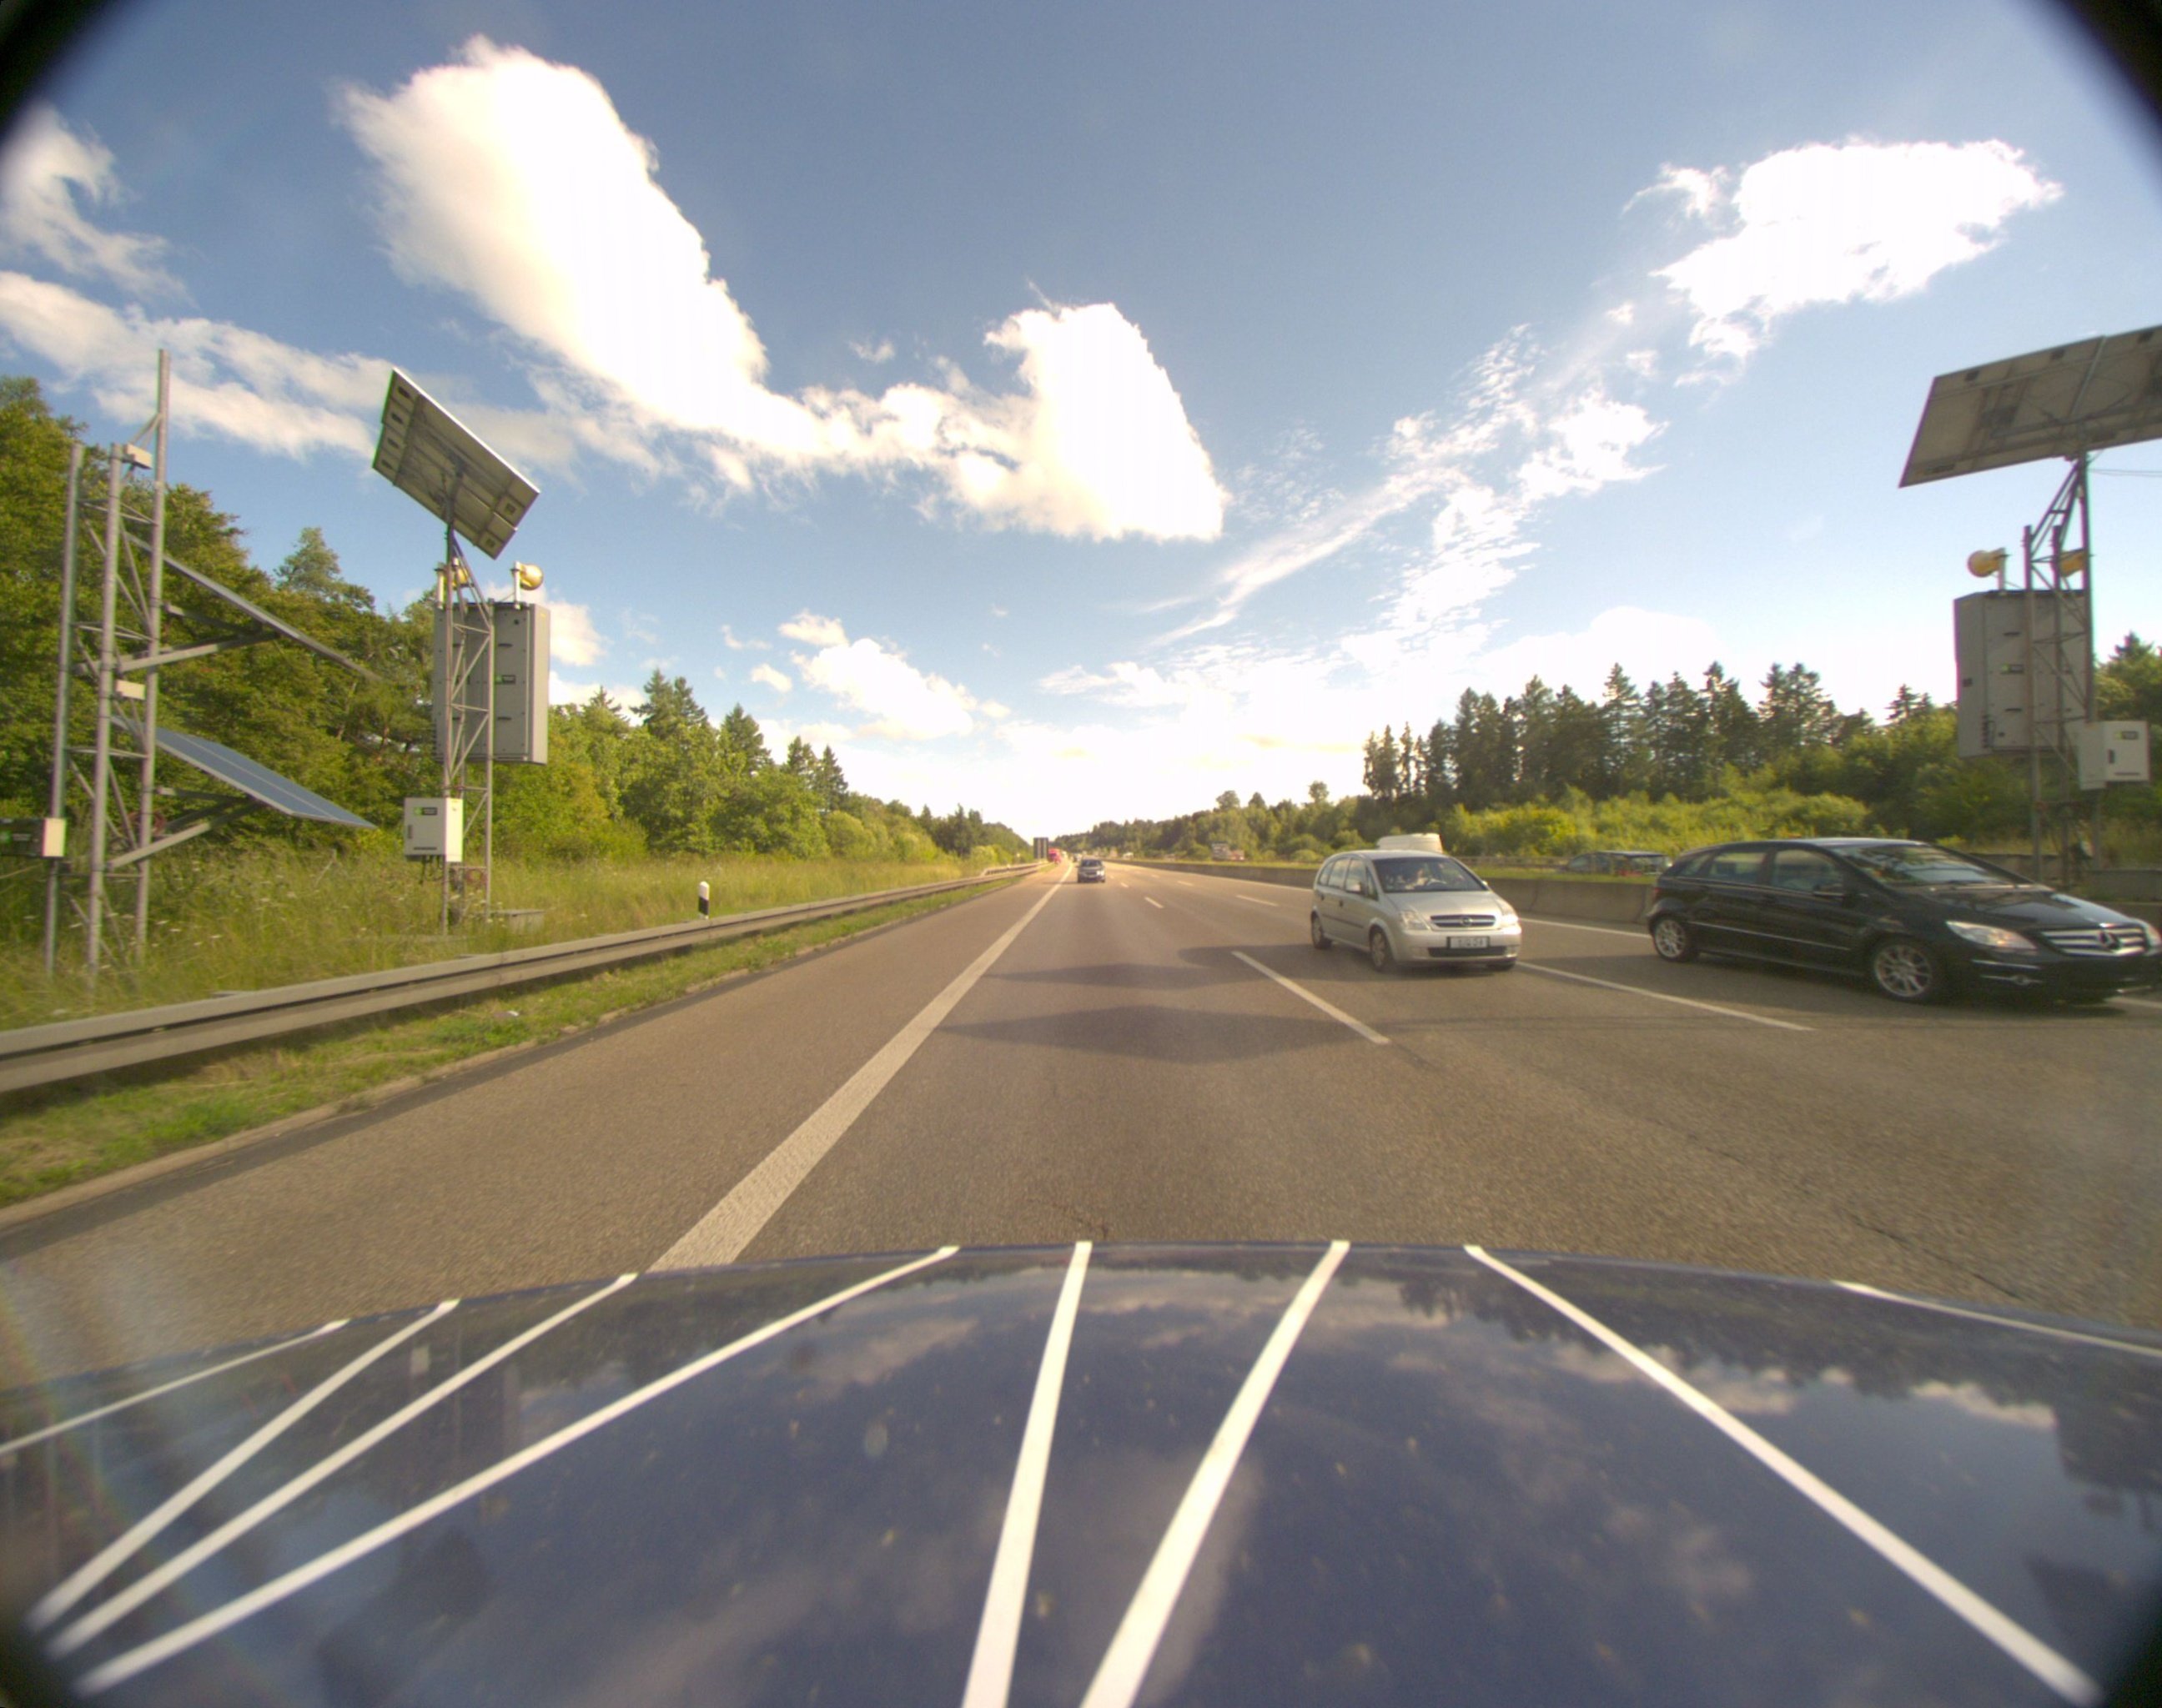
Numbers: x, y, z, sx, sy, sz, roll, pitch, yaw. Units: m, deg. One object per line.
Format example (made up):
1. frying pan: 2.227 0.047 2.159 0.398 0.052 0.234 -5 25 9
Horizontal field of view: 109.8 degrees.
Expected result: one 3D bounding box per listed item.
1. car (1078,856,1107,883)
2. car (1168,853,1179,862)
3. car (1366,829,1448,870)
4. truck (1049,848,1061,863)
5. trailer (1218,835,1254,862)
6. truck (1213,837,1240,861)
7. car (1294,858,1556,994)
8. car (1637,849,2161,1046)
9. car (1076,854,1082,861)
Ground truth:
1. car: 0.750 0.928 48.614 1.742 1.608 4.083 -1 0 1
2. car: 19.949 0.737 163.996 1.998 2.002 4.859 -1 0 1
3. car: 19.748 -0.251 46.409 2.114 2.299 6.724 -1 0 0
4. truck: -6.981 0.490 205.192 2.880 3.871 8.958 -2 0 0
5. trailer: 23.900 -0.831 118.107 3.132 3.815 12.209 -1 0 0
6. truck: 23.943 -0.847 125.210 3.122 3.815 7.123 -1 0 0
7. car: 4.591 0.851 10.959 1.840 1.508 4.333 -1 0 1
8. car: 8.455 0.736 8.140 1.840 1.508 4.333 -1 0 1
9. car: -0.637 1.205 242.895 1.998 2.124 4.000 -1 0 1
